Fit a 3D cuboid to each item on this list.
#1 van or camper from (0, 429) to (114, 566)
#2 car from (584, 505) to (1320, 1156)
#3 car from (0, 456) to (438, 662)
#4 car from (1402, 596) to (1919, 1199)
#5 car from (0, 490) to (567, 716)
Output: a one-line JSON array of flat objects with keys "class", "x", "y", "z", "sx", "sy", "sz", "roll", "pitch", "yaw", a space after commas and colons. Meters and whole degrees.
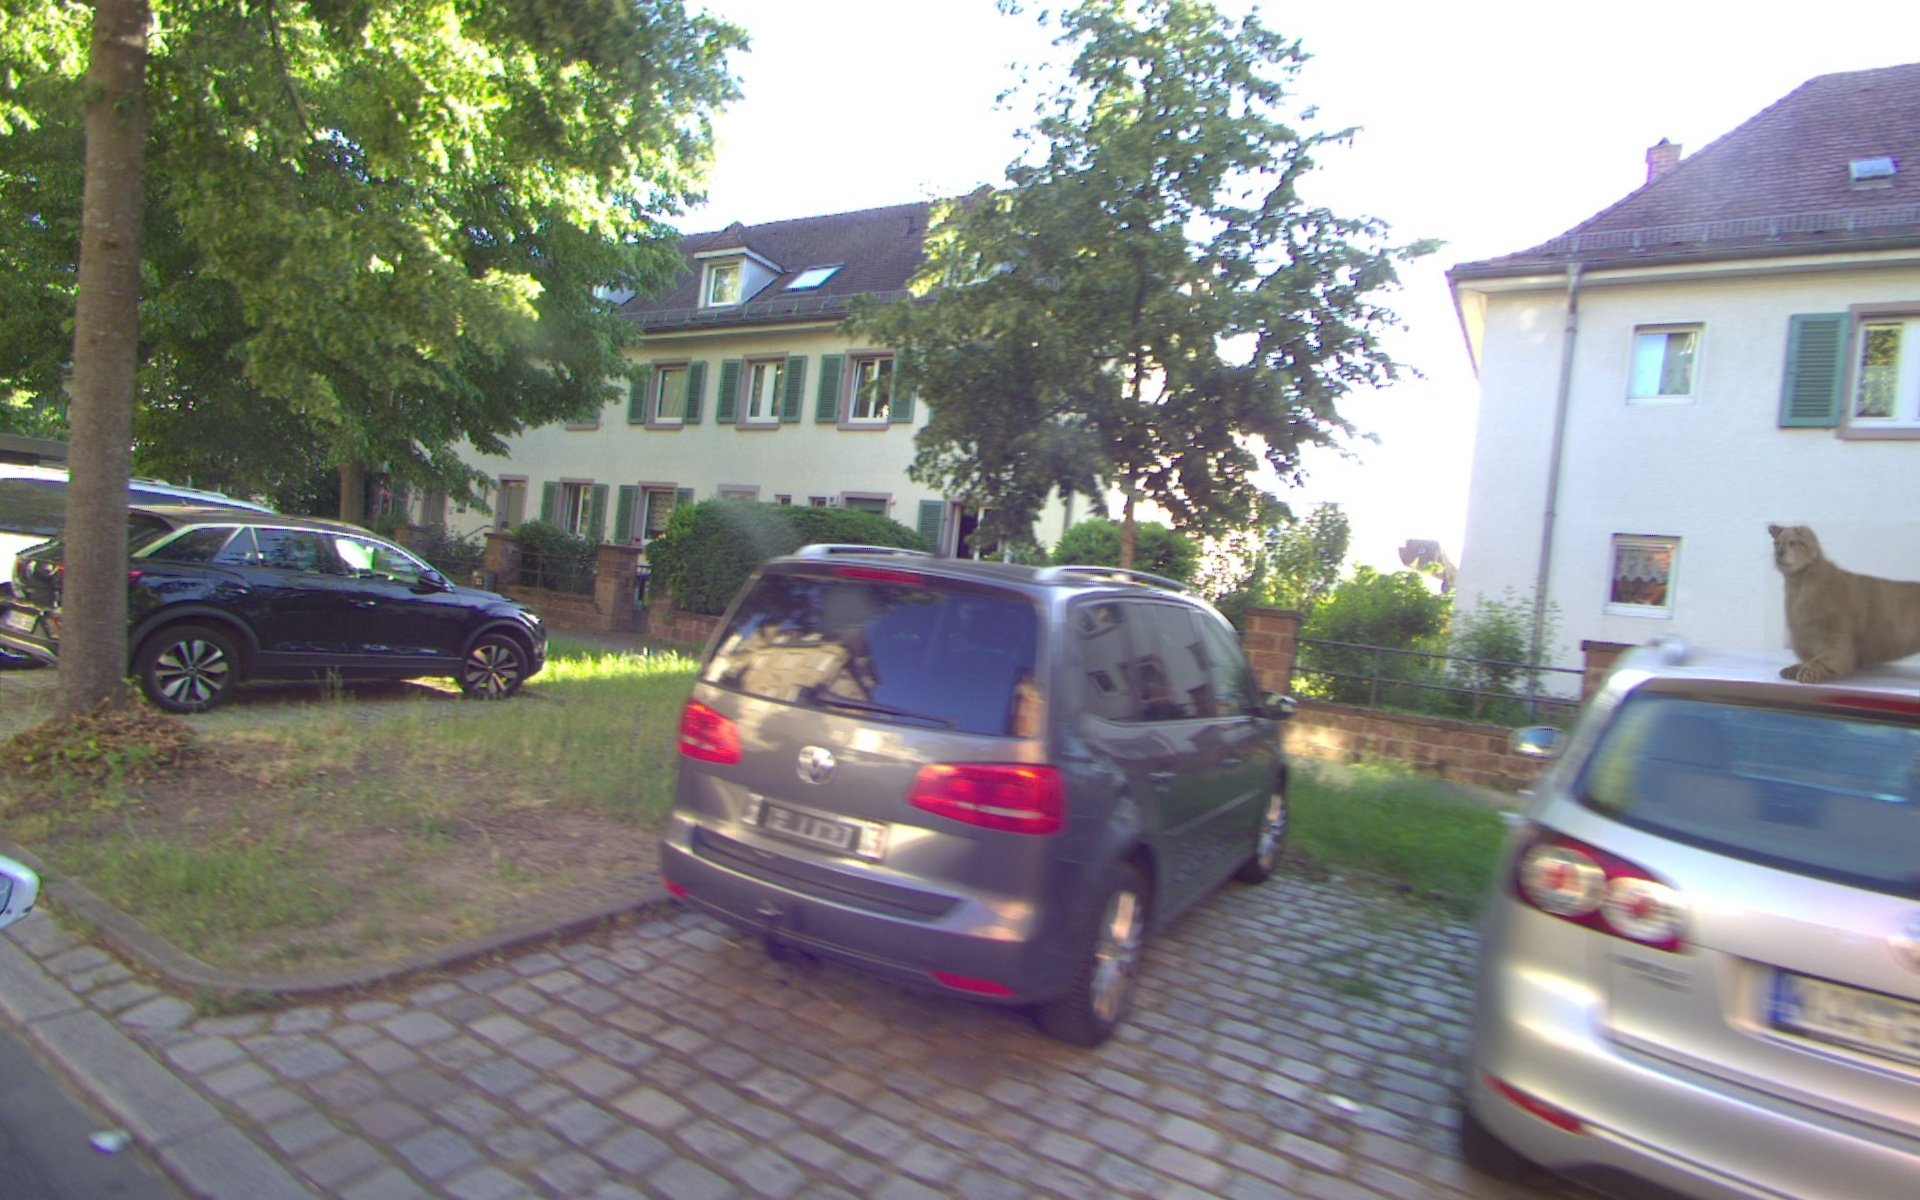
[{"class": "van or camper", "x": -21.441, "y": -2.286, "z": 19.615, "sx": 2.425, "sy": 2.682, "sz": 7.144, "roll": 7, "pitch": 2, "yaw": 33}, {"class": "car", "x": 0.547, "y": 0.625, "z": 5.102, "sx": 1.780, "sy": 1.655, "sz": 4.544, "roll": 6, "pitch": 2, "yaw": 26}, {"class": "car", "x": -8.062, "y": -0.349, "z": 10.126, "sx": 1.803, "sy": 1.731, "sz": 4.620, "roll": 6, "pitch": 1, "yaw": 33}, {"class": "car", "x": 3.069, "y": 0.956, "z": 3.797, "sx": 1.663, "sy": 1.655, "sz": 4.269, "roll": 7, "pitch": 2, "yaw": 35}, {"class": "car", "x": -5.853, "y": 0.026, "z": 9.032, "sx": 1.666, "sy": 1.496, "sz": 4.067, "roll": 7, "pitch": 2, "yaw": 32}]
